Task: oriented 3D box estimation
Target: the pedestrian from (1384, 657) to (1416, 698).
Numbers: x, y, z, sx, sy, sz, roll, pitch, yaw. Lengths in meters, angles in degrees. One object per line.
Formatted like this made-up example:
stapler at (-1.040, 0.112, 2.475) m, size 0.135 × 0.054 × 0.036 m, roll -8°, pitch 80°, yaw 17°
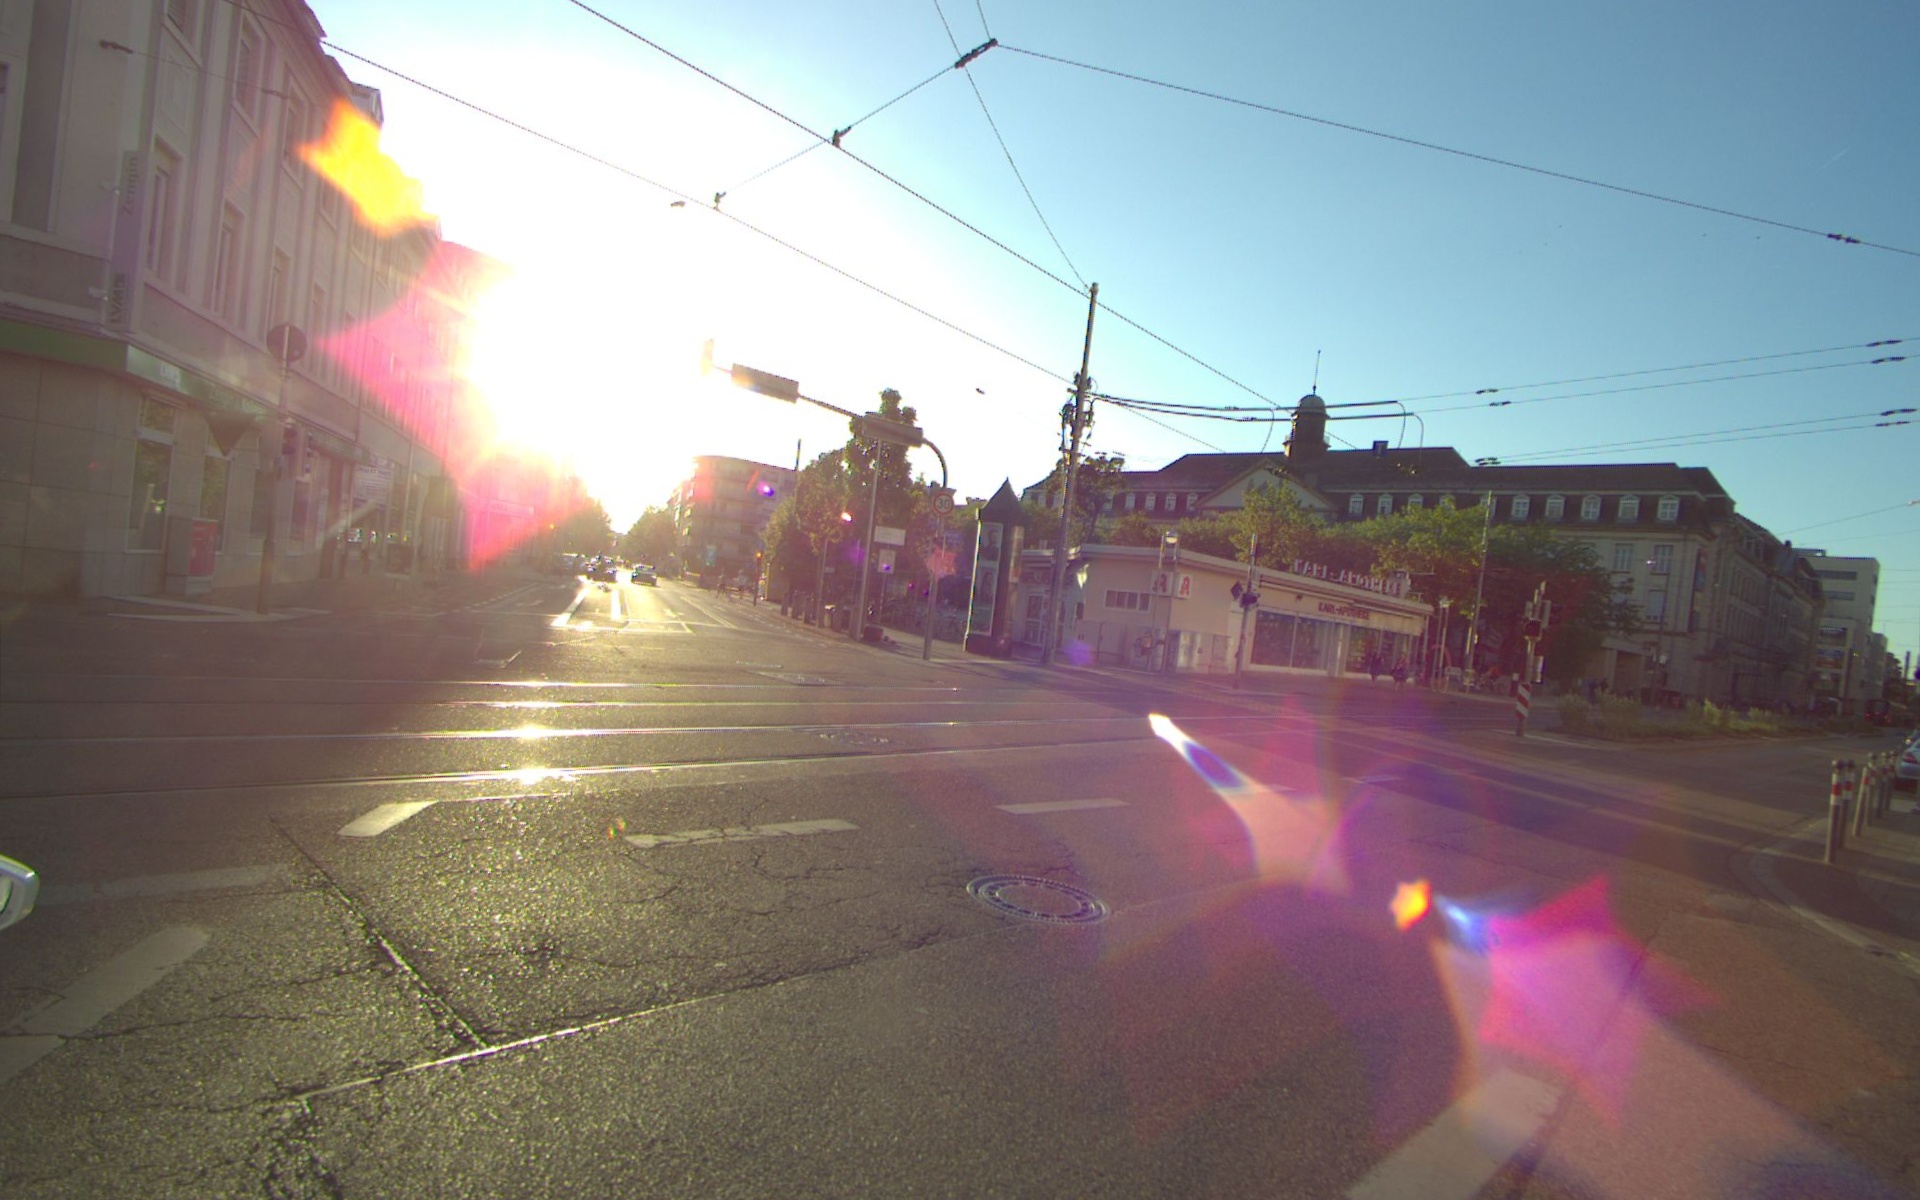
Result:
pedestrian at (18.362, 3.229, 42.012) m, size 0.987 × 1.632 × 0.796 m, roll 5°, pitch 0°, yaw -45°

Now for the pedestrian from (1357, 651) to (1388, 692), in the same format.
pedestrian at (17.531, 3.056, 42.750) m, size 0.987 × 1.632 × 0.796 m, roll 5°, pitch 0°, yaw -45°

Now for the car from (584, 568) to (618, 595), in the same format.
car at (-27.746, -1.465, 77.819) m, size 2.278 × 1.699 × 5.508 m, roll 7°, pitch 0°, yaw -20°

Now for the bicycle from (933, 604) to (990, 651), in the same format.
bicycle at (0.061, 1.038, 38.222) m, size 1.963 × 1.541 × 0.477 m, roll 7°, pitch 0°, yaw -19°

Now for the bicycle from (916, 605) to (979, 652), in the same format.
bicycle at (-0.494, 1.116, 39.130) m, size 2.197 × 1.541 × 0.678 m, roll 7°, pitch 0°, yaw -19°

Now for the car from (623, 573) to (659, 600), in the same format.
car at (-24.310, -1.061, 76.554) m, size 2.278 × 1.699 × 5.508 m, roll 7°, pitch 0°, yaw -20°

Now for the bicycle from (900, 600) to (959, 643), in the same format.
bicycle at (-1.271, 0.888, 41.636) m, size 2.197 × 1.541 × 0.678 m, roll 7°, pitch 0°, yaw -19°

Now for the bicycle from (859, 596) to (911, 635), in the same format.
bicycle at (-3.472, 0.699, 46.684) m, size 2.195 × 1.541 × 0.679 m, roll 7°, pitch 0°, yaw -15°

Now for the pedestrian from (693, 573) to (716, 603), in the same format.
pedestrian at (-16.655, -0.754, 65.571) m, size 0.975 × 1.806 × 0.807 m, roll 6°, pitch 0°, yaw 15°

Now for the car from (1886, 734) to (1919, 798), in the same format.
car at (22.747, 3.894, 23.027) m, size 3.972 × 1.310 × 1.827 m, roll 8°, pitch -1°, yaw -42°

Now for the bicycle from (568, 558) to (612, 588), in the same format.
bicycle at (-20.936, -1.525, 56.917) m, size 2.187 × 1.419 × 0.681 m, roll 7°, pitch 1°, yaw 8°

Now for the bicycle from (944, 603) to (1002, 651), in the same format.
bicycle at (0.495, 1.000, 37.278) m, size 1.963 × 1.541 × 0.477 m, roll 7°, pitch 0°, yaw -19°

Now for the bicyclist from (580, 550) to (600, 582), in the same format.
bicyclist at (-20.906, -1.914, 56.908) m, size 0.656 × 1.729 × 0.681 m, roll 7°, pitch 1°, yaw 8°

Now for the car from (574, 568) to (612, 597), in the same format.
car at (-25.667, -1.264, 70.534) m, size 2.278 × 1.699 × 5.508 m, roll 7°, pitch 0°, yaw -20°

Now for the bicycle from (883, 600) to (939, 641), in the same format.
bicycle at (-2.122, 0.903, 43.851) m, size 2.197 × 1.541 × 0.678 m, roll 7°, pitch 0°, yaw -19°

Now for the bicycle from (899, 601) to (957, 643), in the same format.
bicycle at (-1.364, 0.948, 42.982) m, size 2.197 × 1.541 × 0.678 m, roll 7°, pitch 0°, yaw -19°

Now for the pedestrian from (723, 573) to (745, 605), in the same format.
pedestrian at (-15.063, -0.745, 67.065) m, size 0.975 × 1.981 × 0.807 m, roll 6°, pitch 0°, yaw 7°

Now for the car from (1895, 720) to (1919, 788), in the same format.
car at (26.050, 4.157, 26.353) m, size 3.972 × 1.655 × 1.827 m, roll 7°, pitch -1°, yaw -42°

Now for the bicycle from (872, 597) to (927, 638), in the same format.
bicycle at (-2.715, 0.782, 45.096) m, size 2.197 × 1.541 × 0.678 m, roll 7°, pitch 0°, yaw -19°

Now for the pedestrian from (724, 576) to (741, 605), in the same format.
pedestrian at (-14.819, -0.603, 65.530) m, size 0.792 × 1.808 × 0.993 m, roll 5°, pitch 0°, yaw -6°
